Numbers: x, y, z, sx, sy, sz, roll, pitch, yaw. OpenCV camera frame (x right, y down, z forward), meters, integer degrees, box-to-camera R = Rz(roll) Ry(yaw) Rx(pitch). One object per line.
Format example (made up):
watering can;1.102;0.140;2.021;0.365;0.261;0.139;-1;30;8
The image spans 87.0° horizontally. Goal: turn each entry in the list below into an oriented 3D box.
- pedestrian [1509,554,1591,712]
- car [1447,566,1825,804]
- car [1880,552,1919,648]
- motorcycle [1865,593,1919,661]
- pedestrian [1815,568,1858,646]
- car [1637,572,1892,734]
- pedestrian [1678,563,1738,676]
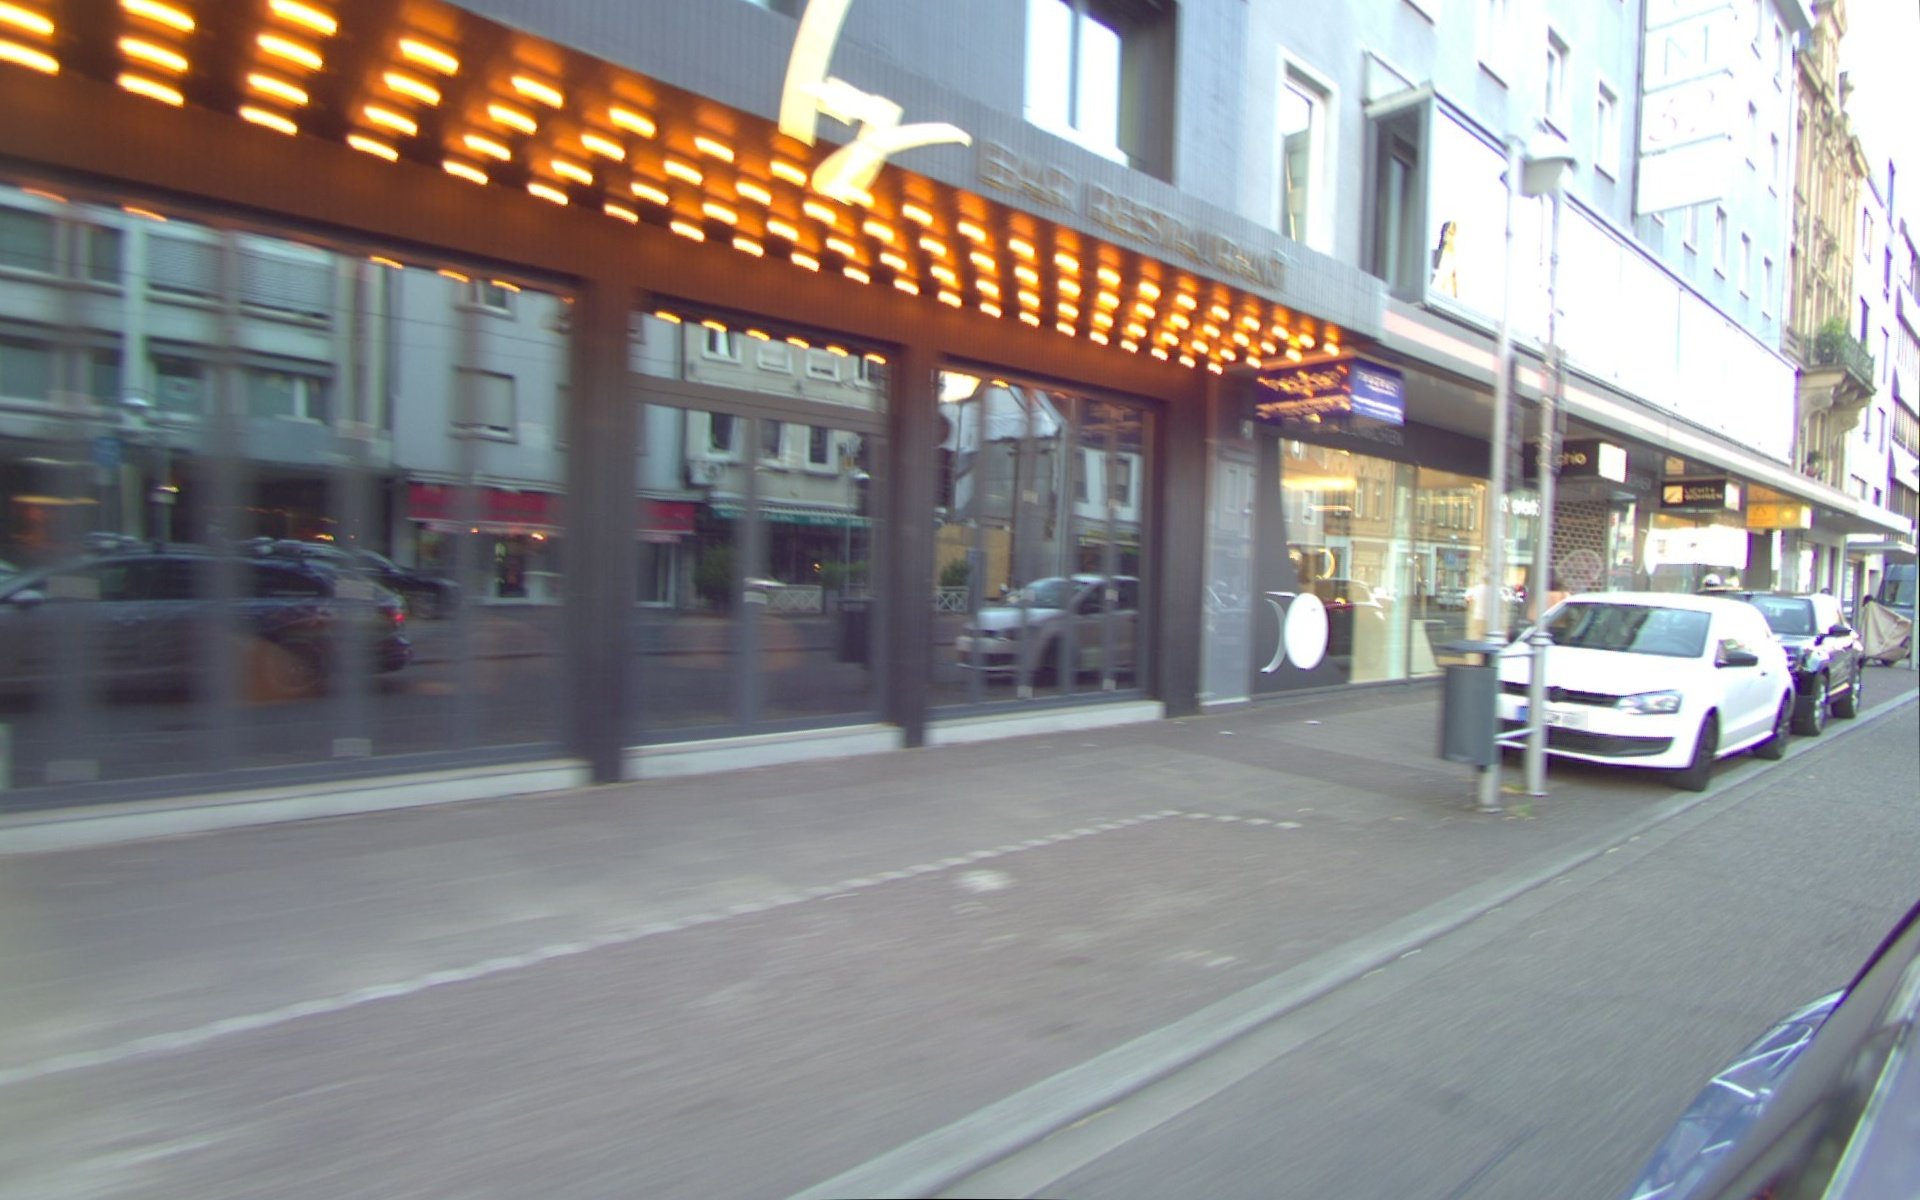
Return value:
pedestrian;6.903;0.366;11.842;0.594;1.775;0.610;0;2;-41
car;5.975;0.558;8.791;3.817;1.561;1.682;0;3;-40
car;26.328;0.009;27.004;5.489;2.414;2.044;0;2;-42
motorcycle;20.275;0.577;21.613;1.478;1.394;0.576;1;1;-11
pedestrian;23.592;0.170;27.245;0.810;2.038;0.711;0;2;-41
car;9.722;0.512;12.120;3.964;1.594;1.673;0;2;-41
pedestrian;12.100;0.300;16.365;0.594;1.775;0.610;0;2;-41
